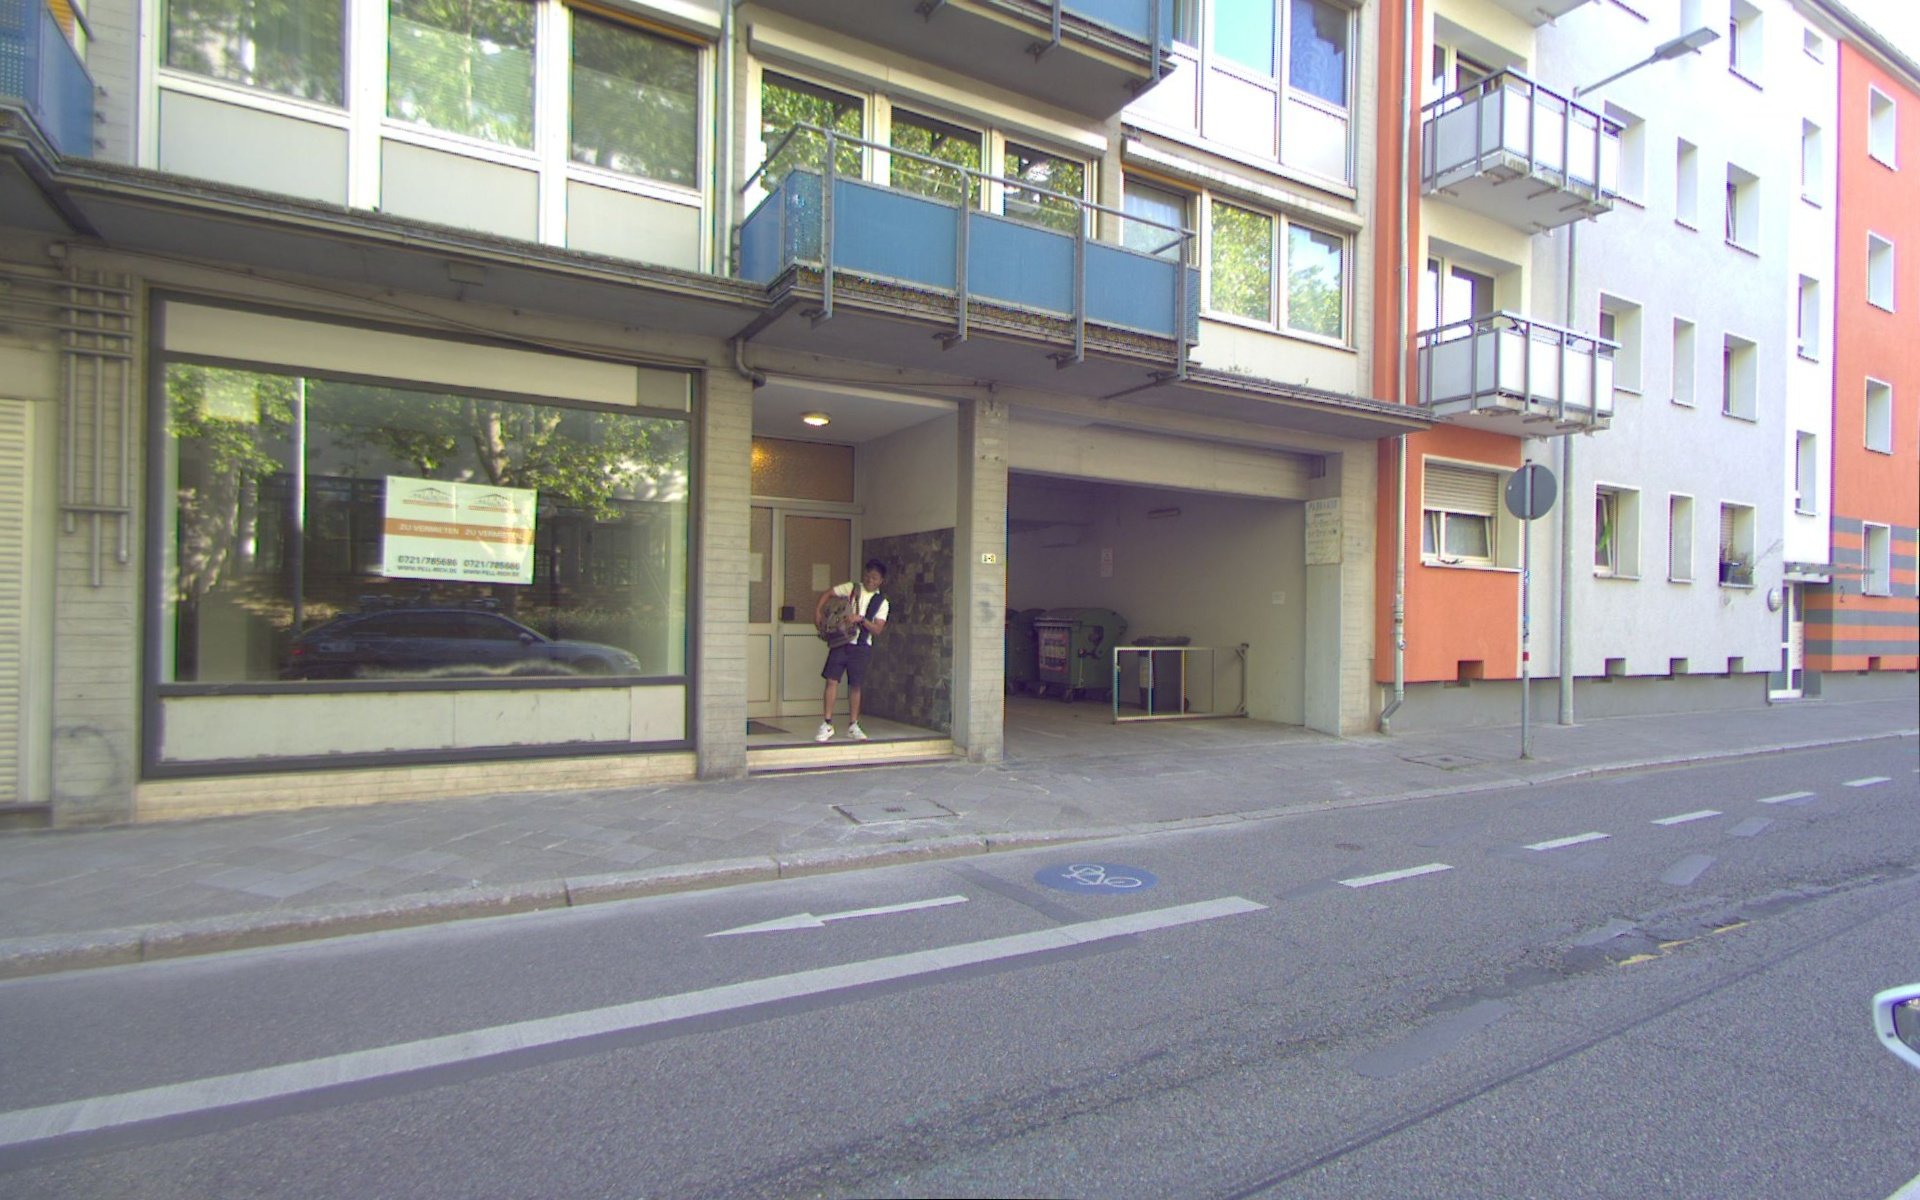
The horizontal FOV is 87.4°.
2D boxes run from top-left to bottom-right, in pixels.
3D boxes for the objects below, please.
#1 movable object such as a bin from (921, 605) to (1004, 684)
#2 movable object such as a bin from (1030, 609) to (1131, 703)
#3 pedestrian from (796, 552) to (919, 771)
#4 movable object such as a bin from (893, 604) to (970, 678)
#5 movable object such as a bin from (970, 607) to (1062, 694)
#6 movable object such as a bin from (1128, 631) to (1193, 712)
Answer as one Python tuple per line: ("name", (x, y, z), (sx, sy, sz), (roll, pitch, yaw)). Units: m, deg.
("movable object such as a bin", (0.033, 0.816, 18.695), (1.066, 1.384, 1.255), (2, 0, -27))
("movable object such as a bin", (1.885, 0.860, 15.812), (1.066, 1.384, 1.192), (2, 0, -27))
("pedestrian", (-0.952, 0.547, 9.255), (0.882, 1.902, 0.703), (2, 0, -28))
("movable object such as a bin", (-0.576, 0.803, 19.865), (1.066, 1.384, 1.255), (2, 0, -27))
("movable object such as a bin", (0.943, 0.837, 17.127), (1.066, 1.384, 1.255), (2, 0, -27))
("movable object such as a bin", (2.886, 1.020, 14.462), (0.650, 1.115, 0.626), (2, 0, -27))
